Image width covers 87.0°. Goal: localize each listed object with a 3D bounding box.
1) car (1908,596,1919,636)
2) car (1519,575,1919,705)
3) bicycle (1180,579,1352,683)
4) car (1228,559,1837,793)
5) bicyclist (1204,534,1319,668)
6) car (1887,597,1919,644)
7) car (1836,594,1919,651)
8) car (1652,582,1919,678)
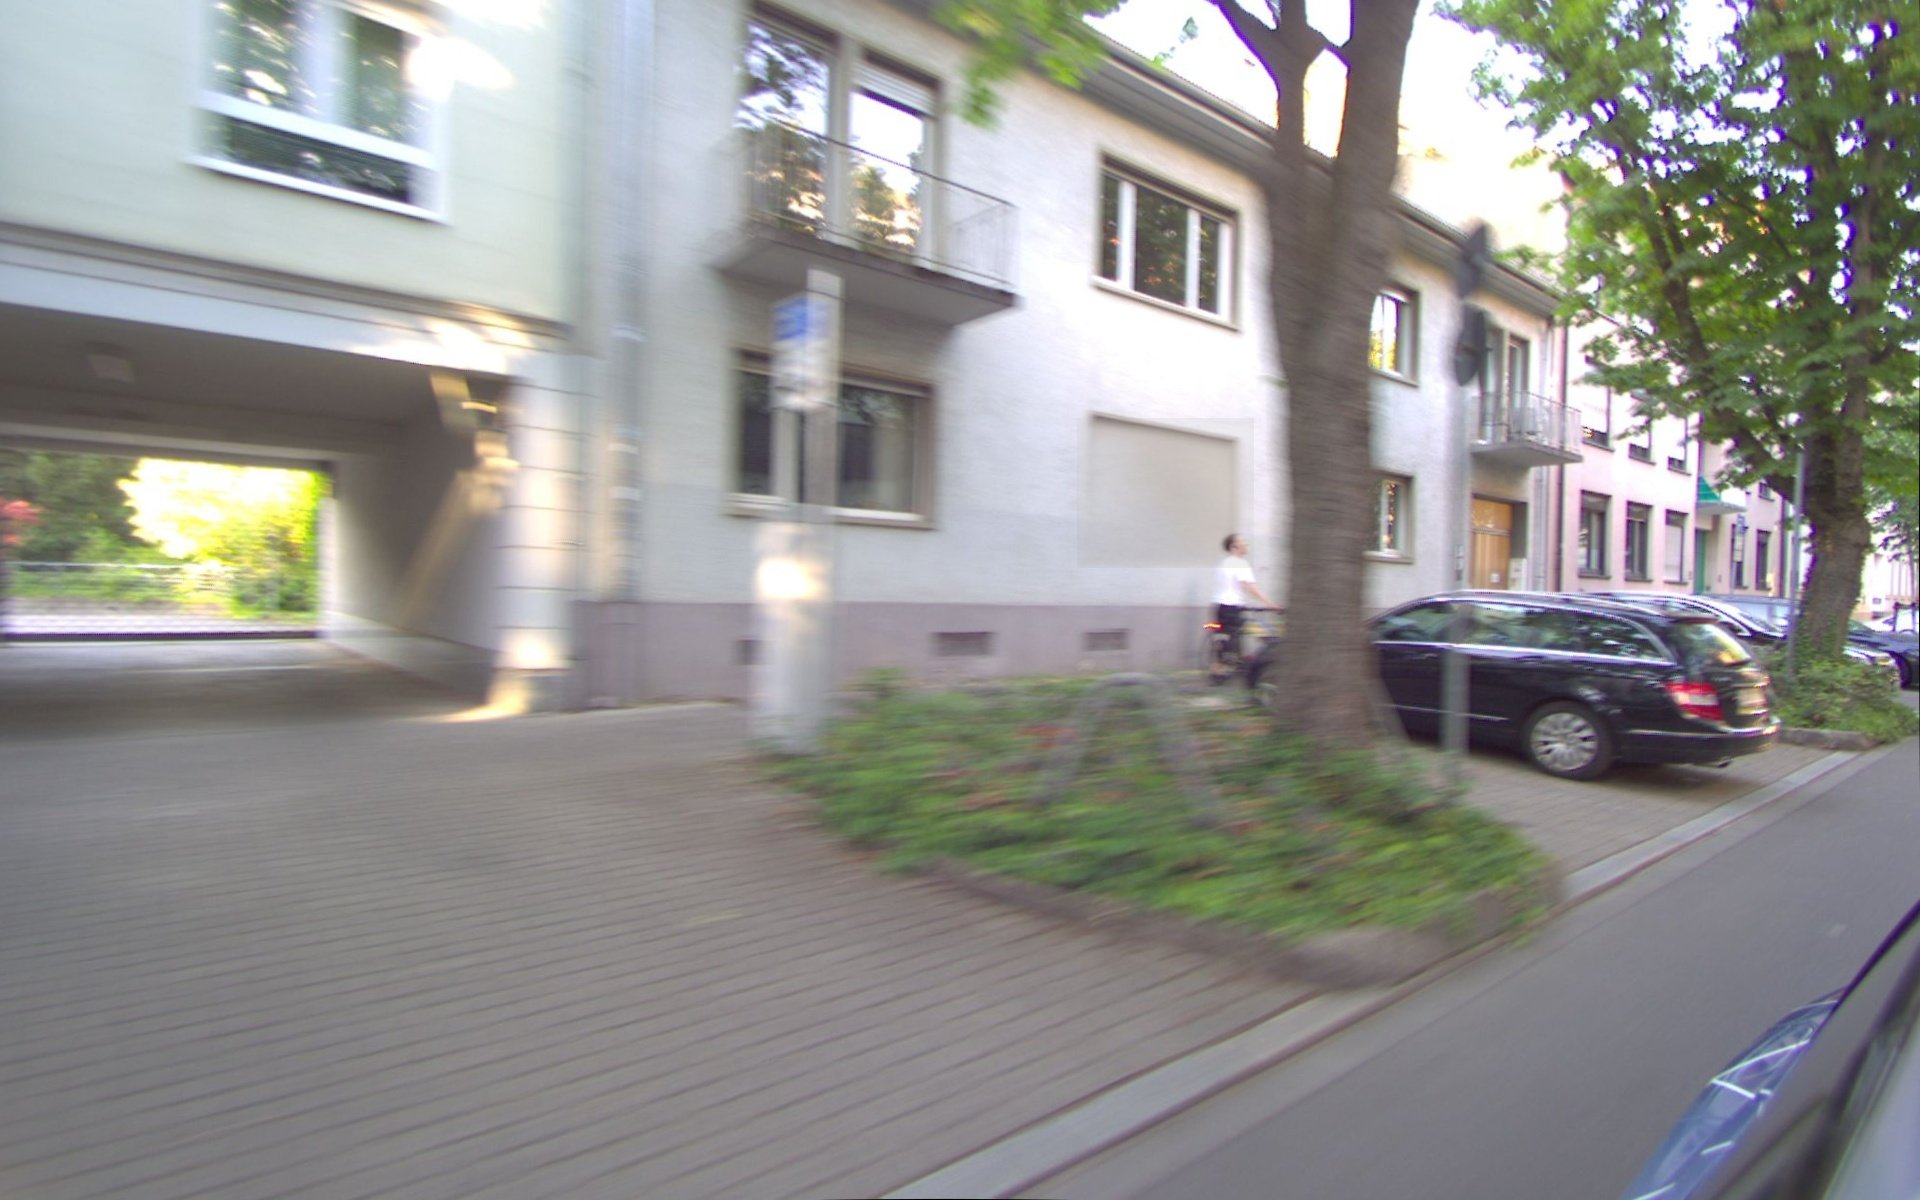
[{"bbox_3d":[36.489,0.671,36.069,1.684,1.428,3.840,0,2,-43],"label":"car"},{"bbox_3d":[11.420,0.469,15.354,1.963,1.405,4.693,1,4,-38],"label":"car"},{"bbox_3d":[4.013,0.352,13.000,0.621,1.178,3.346,2,1,44],"label":"bicycle"},{"bbox_3d":[4.945,0.460,9.431,1.973,1.444,4.477,0,4,-35],"label":"car"},{"bbox_3d":[3.874,0.002,13.011,1.117,1.624,0.971,0,1,-44],"label":"bicyclist"},{"bbox_3d":[33.247,0.734,32.503,1.952,1.516,4.886,1,1,-39],"label":"car"},{"bbox_3d":[26.942,0.650,27.846,1.767,1.509,4.088,1,1,-42],"label":"car"},{"bbox_3d":[16.395,0.516,19.299,2.004,1.465,4.856,1,3,-37],"label":"car"}]
